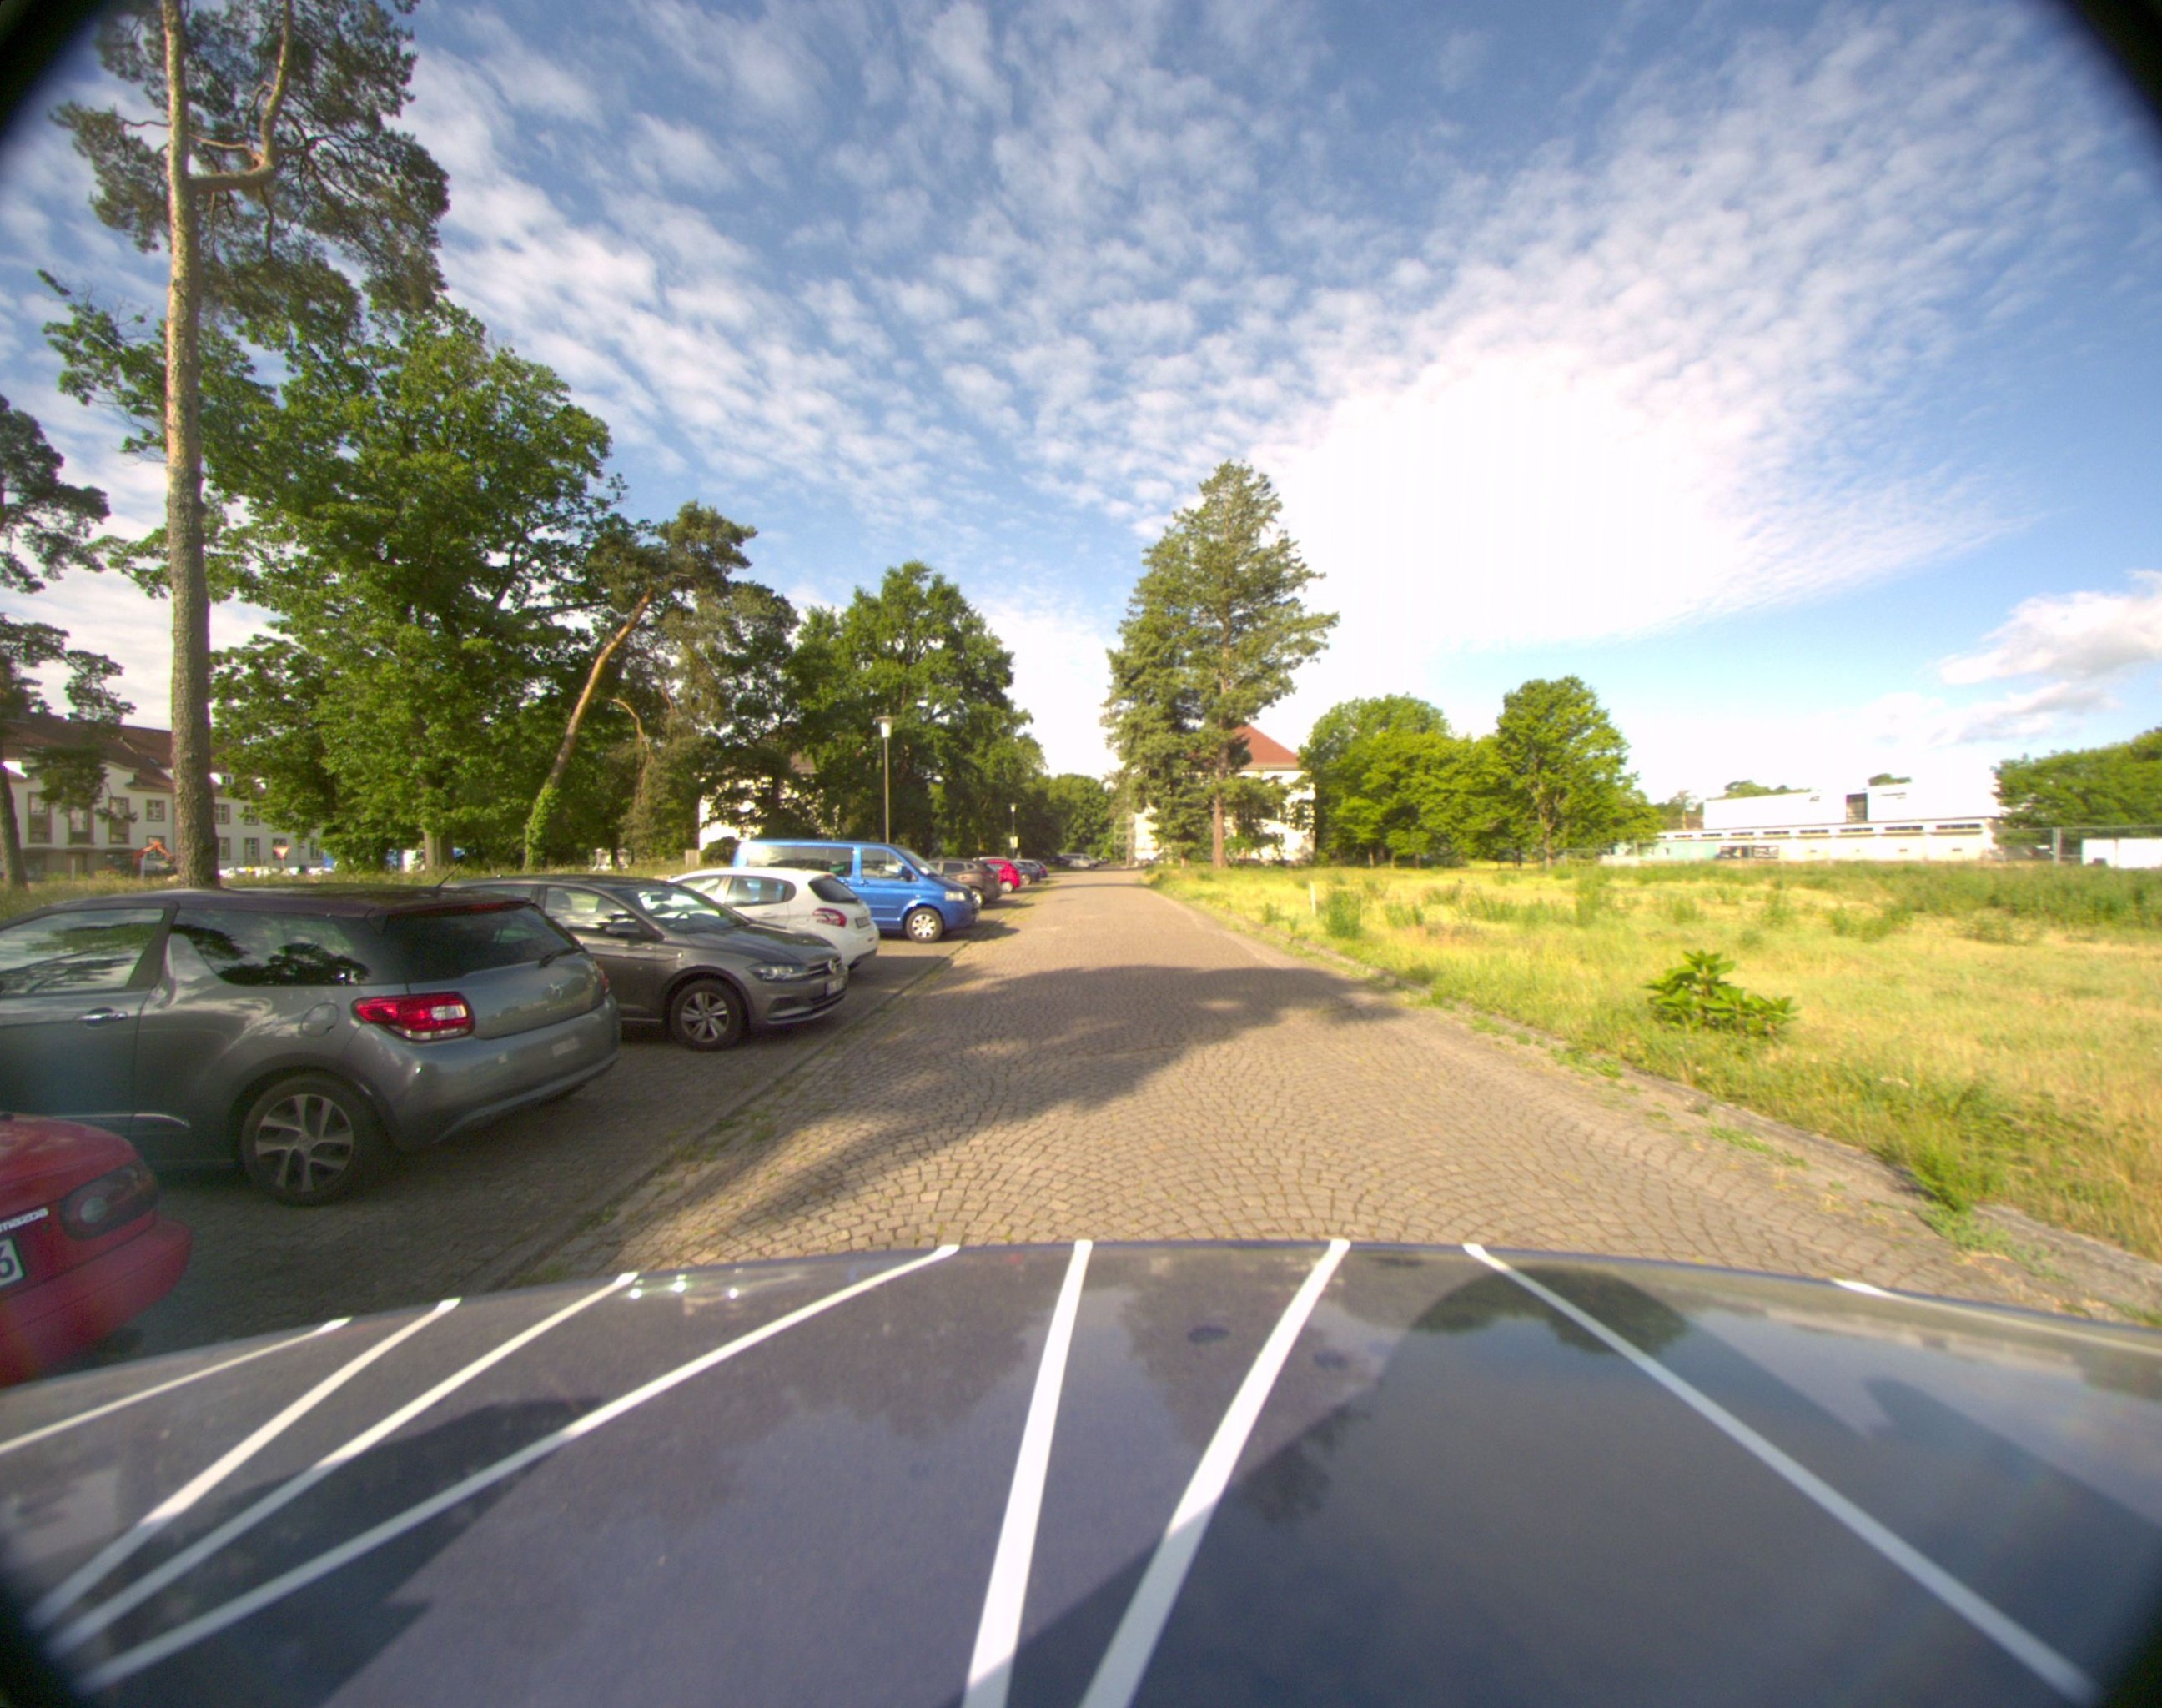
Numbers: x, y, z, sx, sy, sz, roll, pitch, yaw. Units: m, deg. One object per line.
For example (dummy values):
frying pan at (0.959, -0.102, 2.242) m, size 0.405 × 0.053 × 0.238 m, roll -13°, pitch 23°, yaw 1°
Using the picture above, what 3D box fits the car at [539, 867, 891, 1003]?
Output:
car at (-4.579, 0.973, 9.909) m, size 3.716 × 1.525 × 1.761 m, roll 1°, pitch 0°, yaw 1°

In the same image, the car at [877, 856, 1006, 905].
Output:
car at (-4.846, 0.911, 26.895) m, size 4.237 × 1.588 × 1.934 m, roll 1°, pitch 1°, yaw -2°

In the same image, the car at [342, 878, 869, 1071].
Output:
car at (-4.106, 0.996, 7.057) m, size 3.716 × 1.440 × 1.856 m, roll 1°, pitch 0°, yaw 1°

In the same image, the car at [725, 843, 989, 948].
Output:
car at (-4.352, 0.788, 15.341) m, size 4.710 × 1.924 × 2.000 m, roll 1°, pitch 0°, yaw 0°

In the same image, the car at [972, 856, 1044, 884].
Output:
car at (-4.264, 0.903, 44.811) m, size 4.098 × 1.548 × 1.853 m, roll 1°, pitch 0°, yaw -1°

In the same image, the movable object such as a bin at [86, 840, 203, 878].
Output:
movable object such as a bin at (-88.743, 0.412, 72.199) m, size 6.460 × 3.282 × 2.859 m, roll -3°, pitch 1°, yaw -43°

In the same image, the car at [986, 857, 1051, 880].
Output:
car at (-4.008, 0.934, 49.497) m, size 4.098 × 1.414 × 1.784 m, roll 1°, pitch 0°, yaw -1°

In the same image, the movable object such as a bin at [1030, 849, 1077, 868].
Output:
movable object such as a bin at (-3.054, 0.465, 85.305) m, size 4.865 × 2.002 × 2.002 m, roll -1°, pitch 0°, yaw 13°

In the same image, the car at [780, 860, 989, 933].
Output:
car at (-4.513, 0.959, 17.962) m, size 4.408 × 1.568 × 1.939 m, roll 1°, pitch 0°, yaw 0°

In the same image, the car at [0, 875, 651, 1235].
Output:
car at (-4.738, 0.883, 4.158) m, size 3.716 × 1.440 × 1.816 m, roll 1°, pitch 0°, yaw 0°

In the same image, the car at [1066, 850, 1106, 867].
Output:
car at (0.617, 0.588, 98.265) m, size 4.933 × 2.002 × 1.999 m, roll 1°, pitch 1°, yaw -6°

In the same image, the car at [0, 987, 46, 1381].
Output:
car at (-5.249, 1.009, 1.628) m, size 3.716 × 1.216 × 1.746 m, roll 1°, pitch 0°, yaw 1°

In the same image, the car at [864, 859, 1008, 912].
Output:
car at (-4.516, 0.972, 24.187) m, size 4.237 × 1.588 × 1.934 m, roll 0°, pitch 1°, yaw -2°

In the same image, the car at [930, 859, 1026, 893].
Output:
car at (-4.622, 0.970, 34.586) m, size 4.098 × 1.451 × 1.853 m, roll 1°, pitch 0°, yaw -1°
